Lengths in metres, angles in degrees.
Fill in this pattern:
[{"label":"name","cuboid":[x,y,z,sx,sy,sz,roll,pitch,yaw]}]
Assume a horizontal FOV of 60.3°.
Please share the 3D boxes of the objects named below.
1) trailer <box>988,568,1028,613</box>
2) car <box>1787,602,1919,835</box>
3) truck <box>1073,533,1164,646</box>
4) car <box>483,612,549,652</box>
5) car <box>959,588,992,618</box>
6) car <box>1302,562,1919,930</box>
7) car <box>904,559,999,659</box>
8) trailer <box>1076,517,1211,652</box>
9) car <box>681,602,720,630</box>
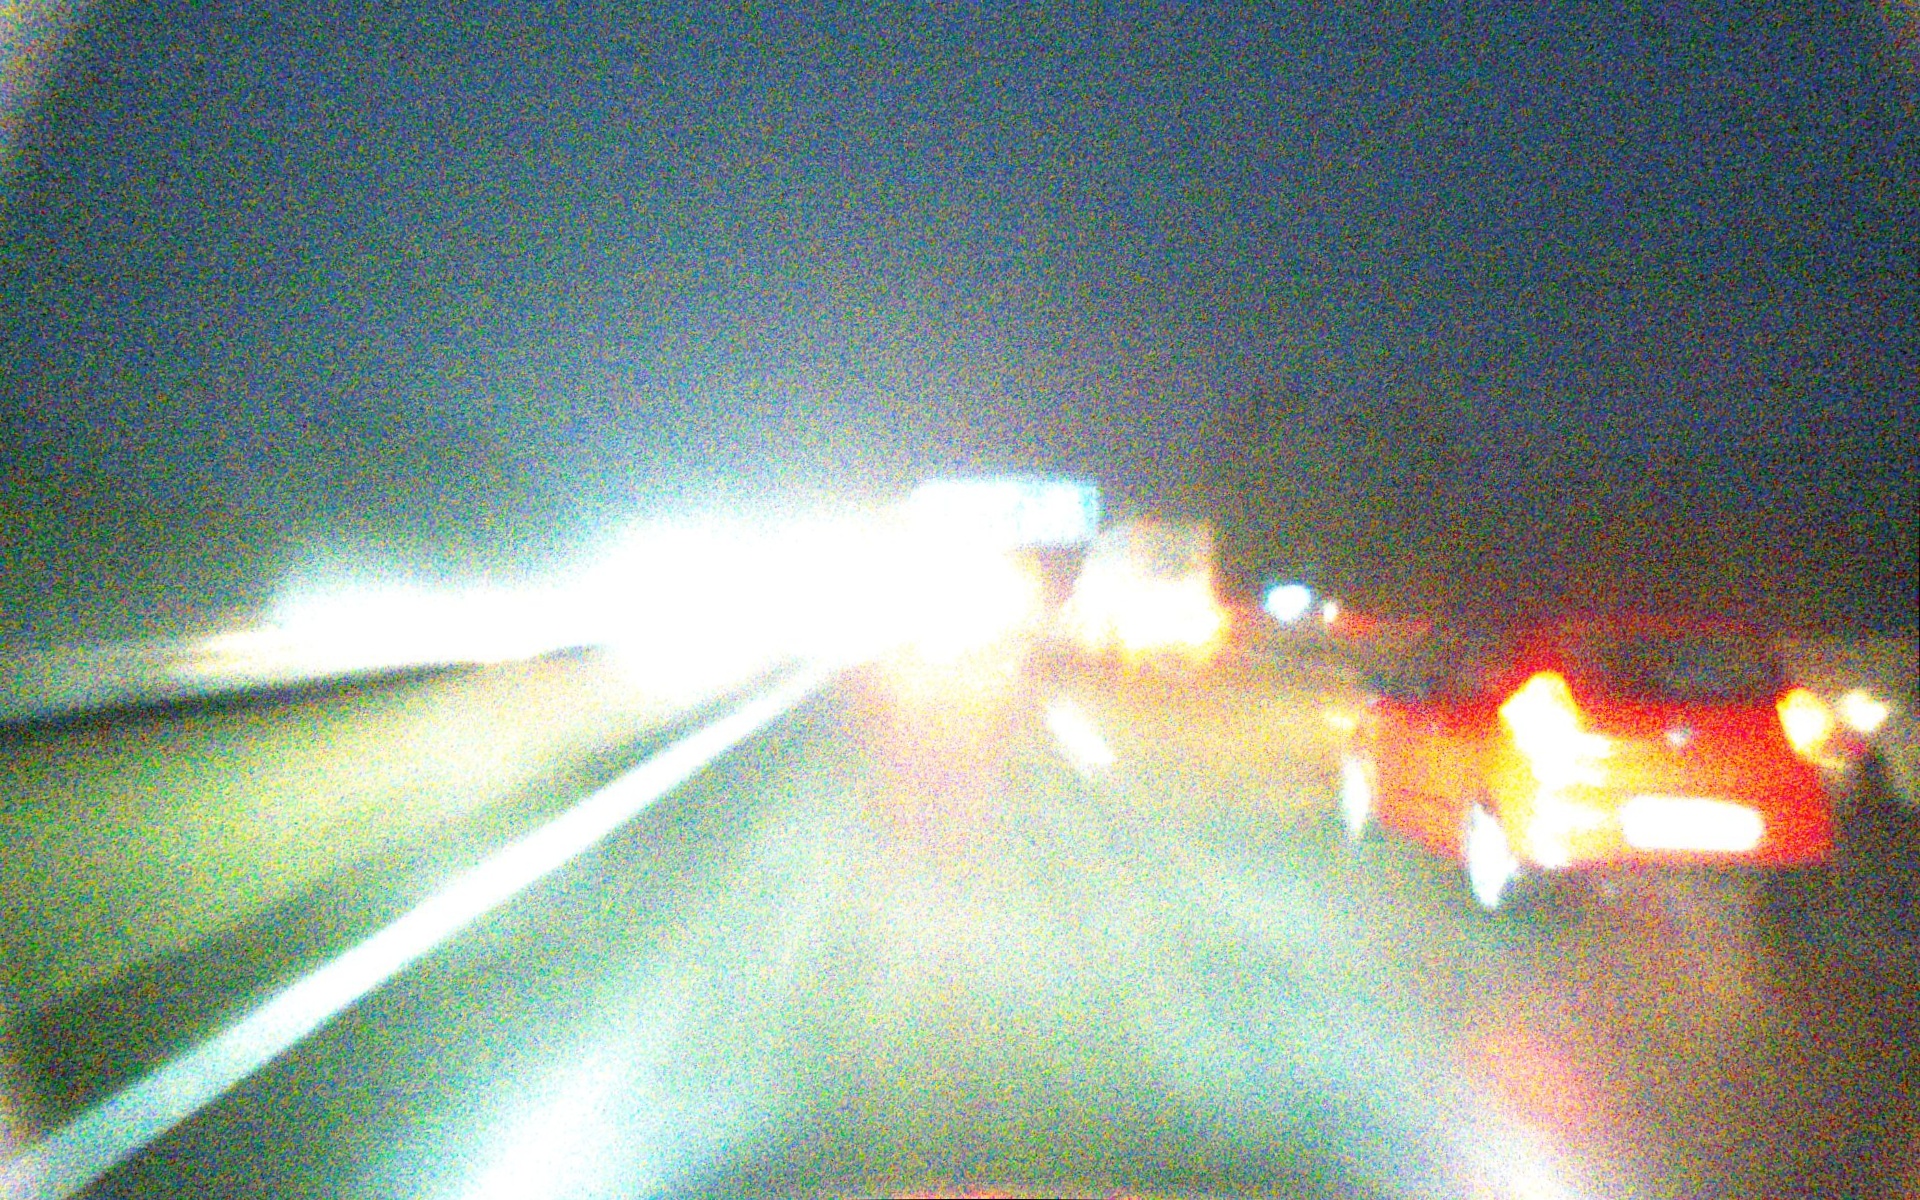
[{"label":"trailer","cuboid":[4.867,-0.887,169.999,2.980,4.180,13.820,-2,-1,-2]},{"label":"car","cuboid":[7.197,0.788,10.667,1.606,1.529,4.012,-1,0,-2]},{"label":"truck","cuboid":[6.181,-0.383,65.389,2.844,4.180,6.029,-1,0,-1]},{"label":"car","cuboid":[-20.835,1.481,77.753,1.953,1.744,4.245,-1,0,-1]},{"label":"car","cuboid":[1.103,0.226,118.656,1.954,2.049,3.996,-2,-1,-4]},{"label":"car","cuboid":[3.331,0.668,9.504,1.705,1.603,4.492,0,-1,-1]},{"label":"car","cuboid":[-0.199,0.234,36.140,1.953,2.049,3.999,1,-1,-1]},{"label":"trailer","cuboid":[6.289,-0.436,59.307,2.844,4.180,14.483,-1,0,-1]},{"label":"car","cuboid":[-17.657,1.066,112.613,1.953,1.790,4.590,-1,0,-1]}]
